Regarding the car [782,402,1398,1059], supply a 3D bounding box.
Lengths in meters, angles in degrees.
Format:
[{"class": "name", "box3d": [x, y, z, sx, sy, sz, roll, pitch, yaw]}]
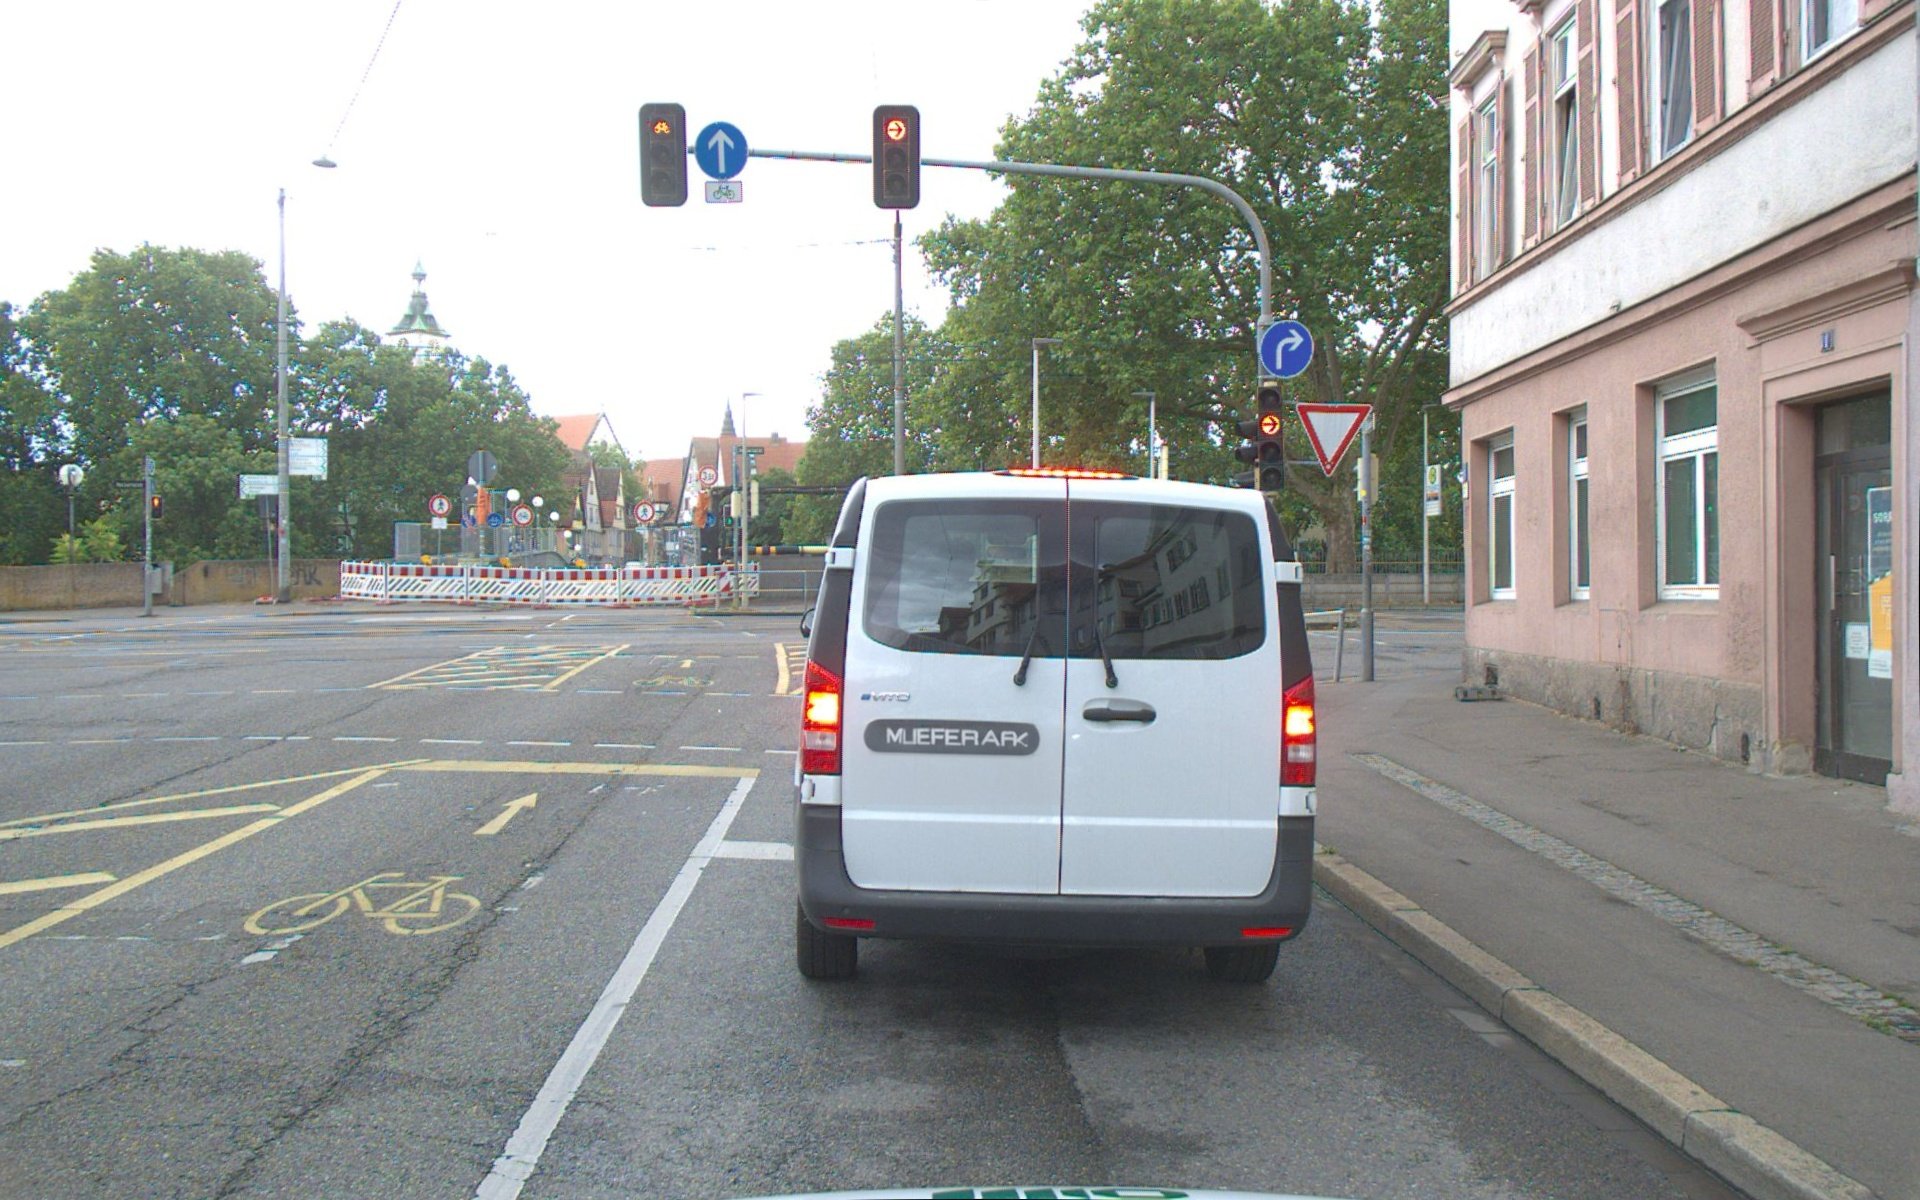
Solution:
[{"class": "car", "box3d": [0.377, 0.352, 7.568, 1.911, 2.048, 4.698, 1, 2, -1]}]
